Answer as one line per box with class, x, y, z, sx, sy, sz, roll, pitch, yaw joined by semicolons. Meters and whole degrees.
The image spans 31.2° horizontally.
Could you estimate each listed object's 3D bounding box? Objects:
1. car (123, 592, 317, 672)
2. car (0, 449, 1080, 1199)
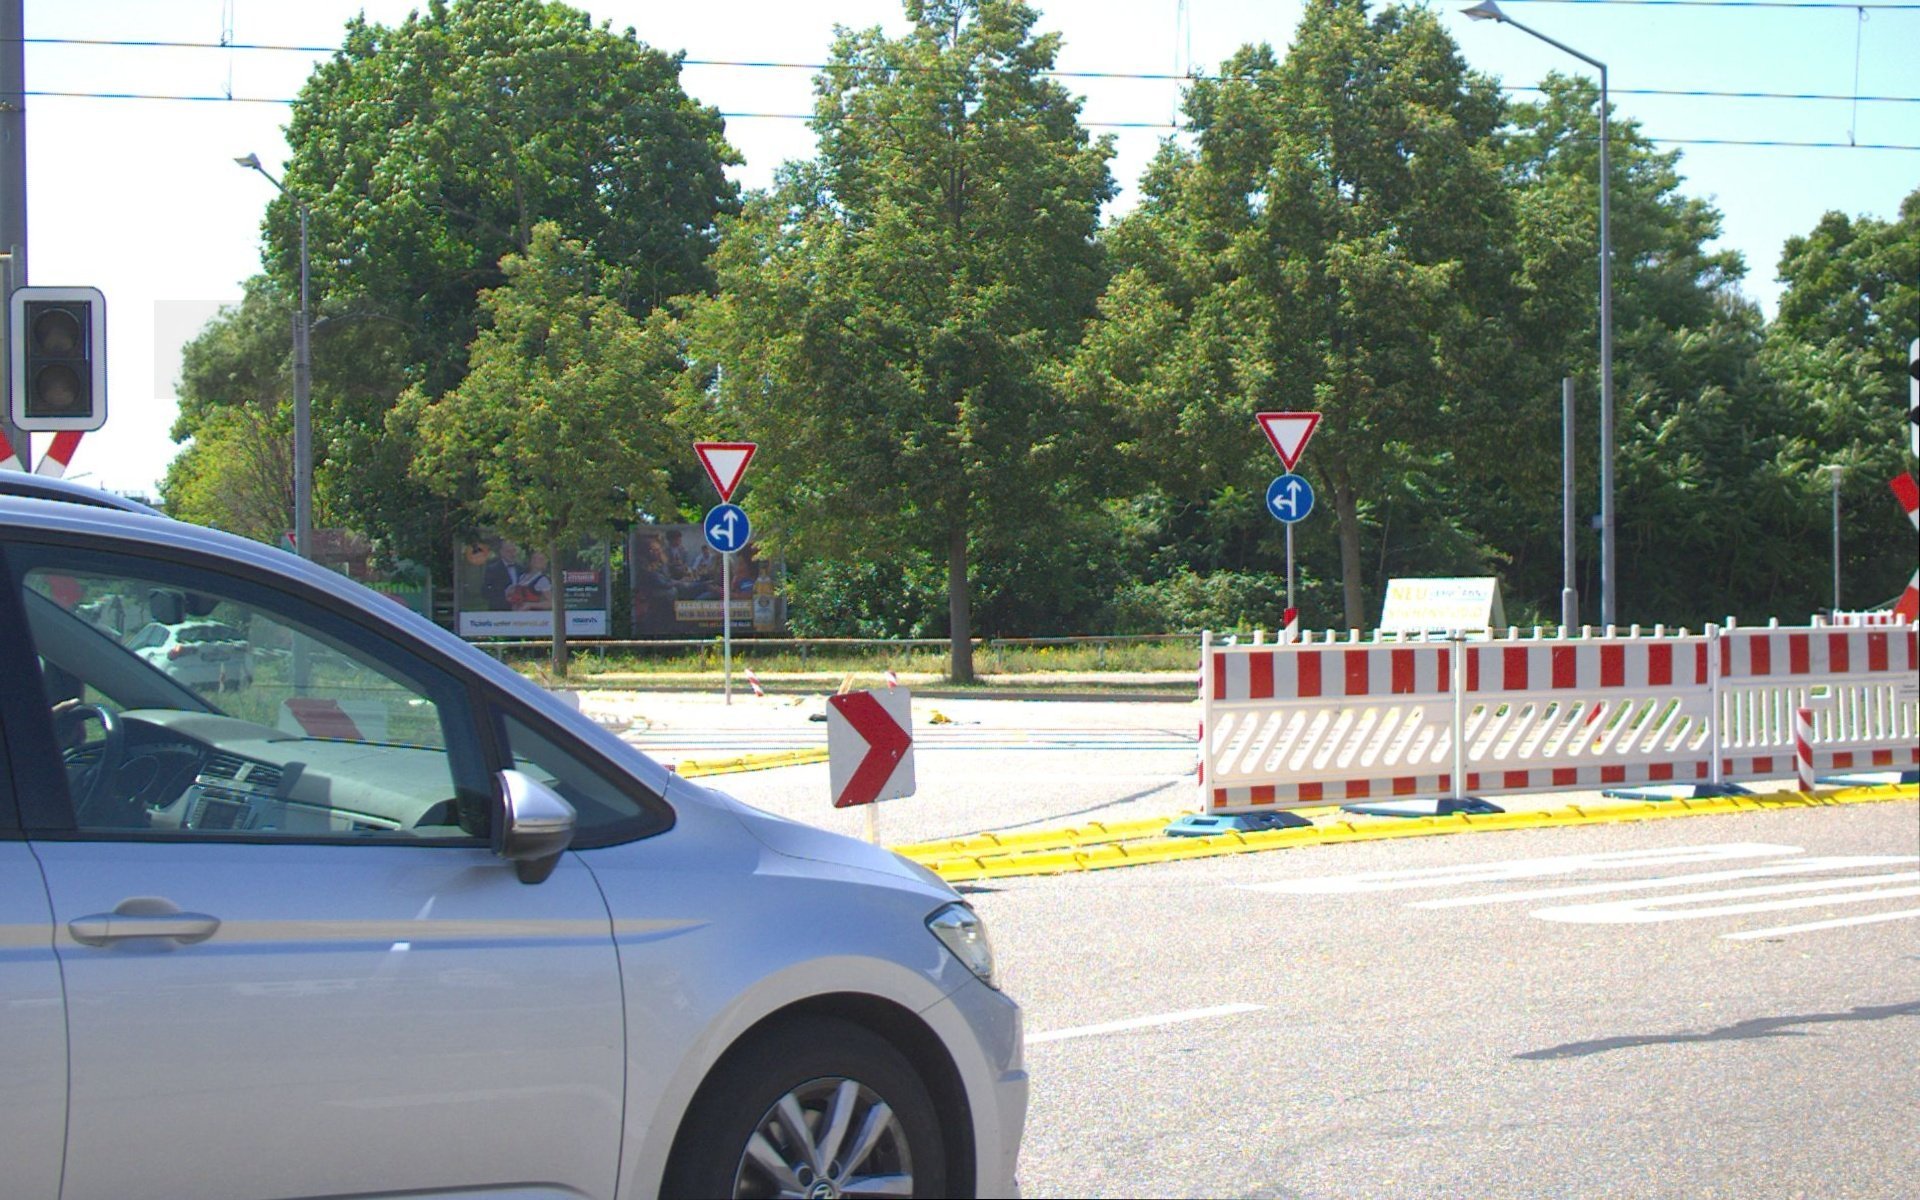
car;-14.375;0.610;66.644;1.994;1.481;4.365;-1;0;-37
car;-2.089;0.579;5.663;4.591;1.643;1.806;-1;2;-42
